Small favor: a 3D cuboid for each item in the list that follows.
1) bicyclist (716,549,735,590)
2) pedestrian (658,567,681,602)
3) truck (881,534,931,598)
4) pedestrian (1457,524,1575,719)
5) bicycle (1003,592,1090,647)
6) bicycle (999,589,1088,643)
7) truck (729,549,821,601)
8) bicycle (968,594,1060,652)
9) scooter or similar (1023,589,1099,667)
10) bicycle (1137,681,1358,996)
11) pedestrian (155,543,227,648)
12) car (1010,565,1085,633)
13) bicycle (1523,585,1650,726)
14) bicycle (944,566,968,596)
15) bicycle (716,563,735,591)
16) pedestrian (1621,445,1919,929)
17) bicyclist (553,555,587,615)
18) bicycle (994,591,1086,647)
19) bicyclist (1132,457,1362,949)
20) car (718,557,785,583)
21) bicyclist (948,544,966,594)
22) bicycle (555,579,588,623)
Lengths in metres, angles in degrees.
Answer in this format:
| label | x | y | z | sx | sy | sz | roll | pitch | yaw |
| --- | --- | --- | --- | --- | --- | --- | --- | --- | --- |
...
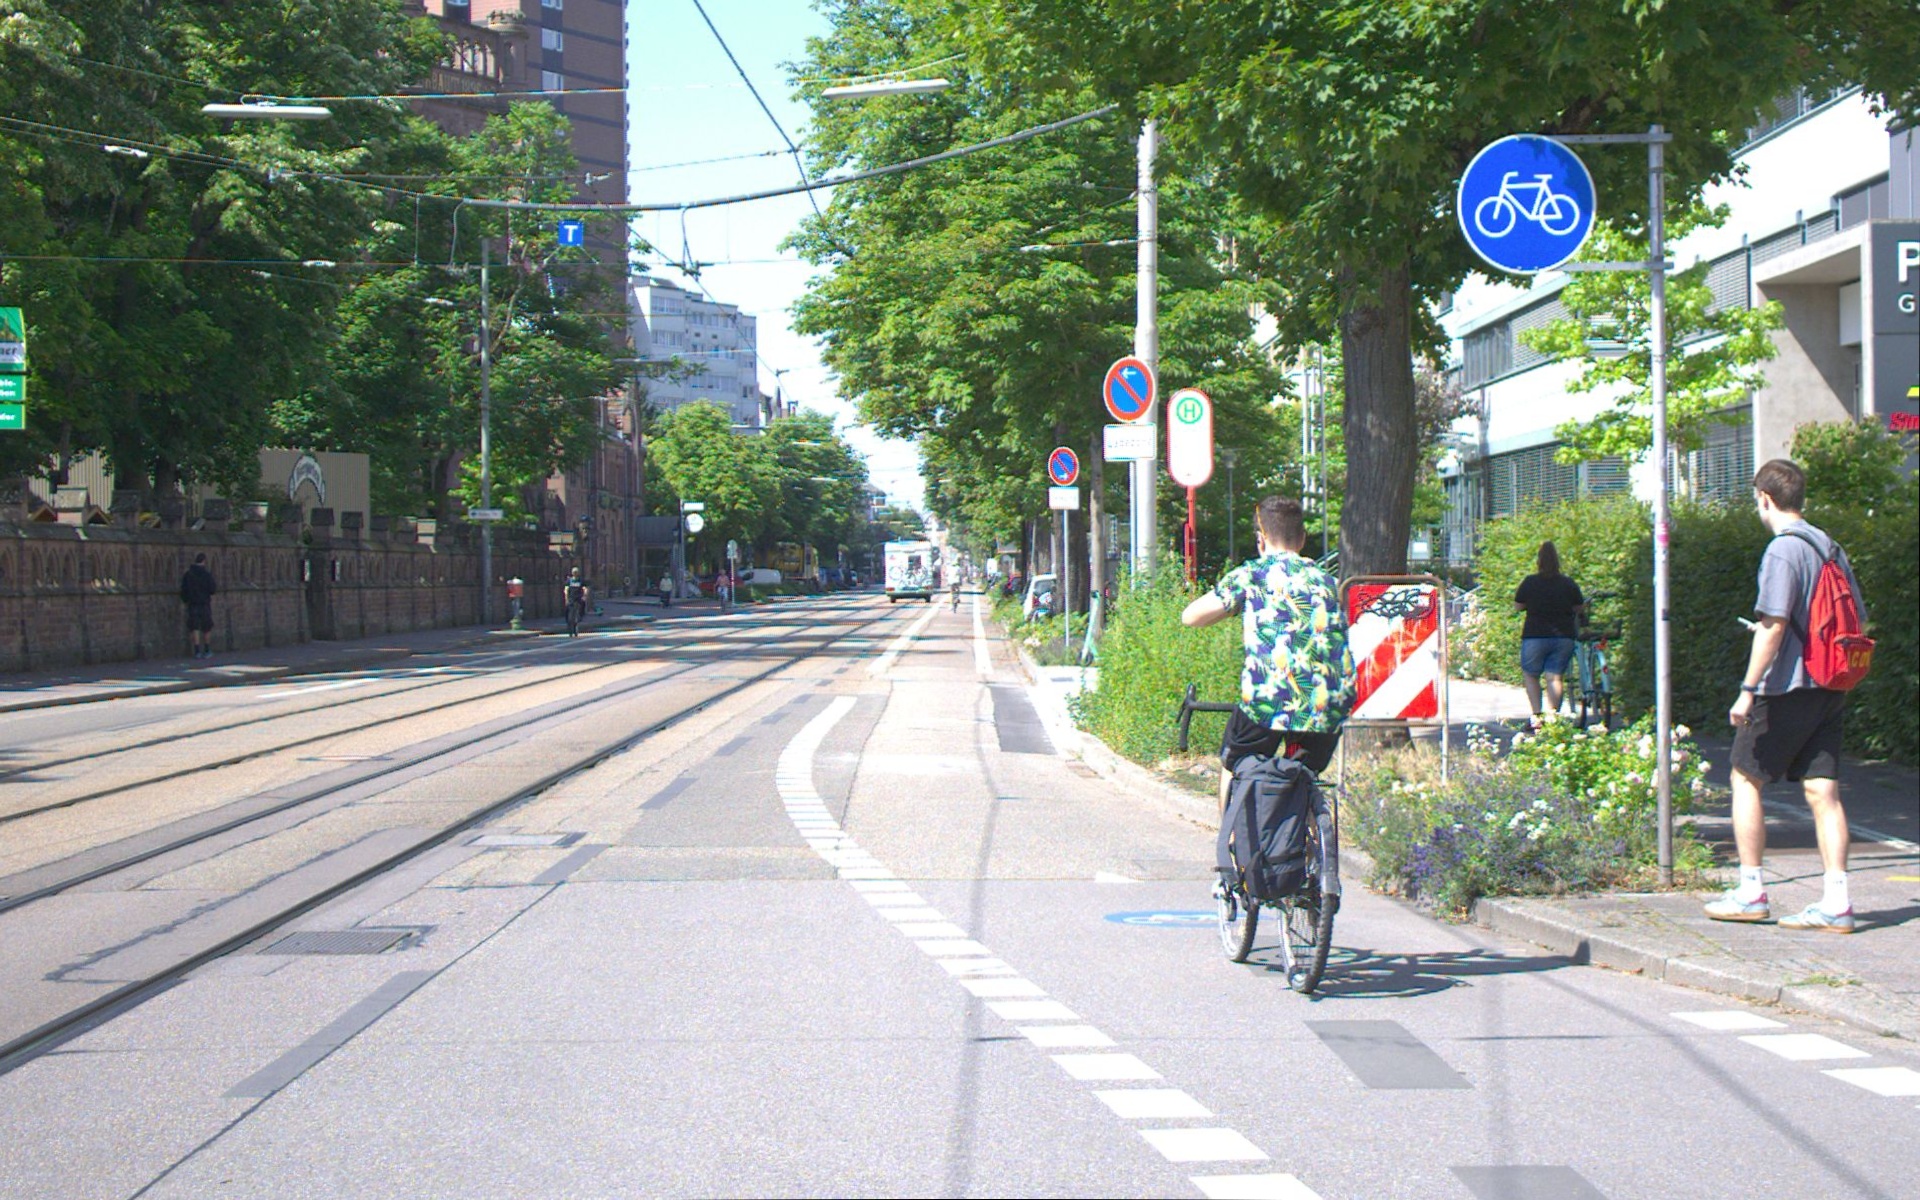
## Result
| label | x | y | z | sx | sy | sz | roll | pitch | yaw |
| --- | --- | --- | --- | --- | --- | --- | --- | --- | --- |
| bicyclist | -9.830 | -1.288 | 144.153 | 0.725 | 1.693 | 1.147 | -1 | 0 | -1 |
| pedestrian | -12.693 | -0.667 | 149.969 | 0.883 | 1.507 | 1.476 | -1 | 0 | -9 |
| truck | -2.651 | -1.657 | 170.410 | 2.402 | 3.098 | 6.037 | 0 | 0 | 0 |
| pedestrian | 4.593 | 0.170 | 28.451 | 0.686 | 1.558 | 0.989 | -2 | 0 | -5 |
| bicycle | 1.752 | 0.399 | 69.780 | 1.724 | 1.082 | 0.639 | -1 | 0 | 0 |
| bicycle | 1.711 | 0.321 | 70.666 | 1.792 | 1.082 | 0.726 | -1 | 0 | 0 |
| truck | -13.744 | -1.862 | 256.401 | 2.816 | 3.846 | 9.989 | -1 | 0 | 22 |
| bicycle | 1.031 | 0.444 | 66.162 | 1.724 | 1.082 | 0.789 | -1 | 0 | 0 |
| scooter or similar | 1.547 | 0.431 | 52.501 | 1.126 | 1.162 | 0.676 | -1 | 0 | 3 |
| bicycle | 1.021 | 0.826 | 12.608 | 0.608 | 0.980 | 2.164 | 0 | 1 | -1 |
| pedestrian | -13.524 | -0.083 | 60.493 | 0.976 | 1.809 | 1.185 | -1 | 0 | 0 |
| car | 1.930 | -0.036 | 76.463 | 1.630 | 1.467 | 3.630 | 0 | 1 | 1 |
| bicycle | 5.148 | 0.435 | 28.351 | 0.636 | 1.114 | 2.067 | 0 | 0 | -1 |
| bicycle | -0.154 | -0.704 | 129.234 | 0.855 | 1.106 | 2.139 | 0 | 1 | -1 |
| bicycle | -9.824 | -0.956 | 144.191 | 0.662 | 1.150 | 2.014 | 0 | 1 | 0 |
| pedestrian | 3.186 | 0.319 | 13.452 | 0.889 | 1.811 | 1.073 | 0 | 0 | -7 |
| bicyclist | -9.924 | -0.385 | 87.442 | 0.740 | 1.525 | 0.947 | 0 | 1 | 0 |
| bicycle | 1.652 | 0.389 | 71.195 | 1.849 | 1.128 | 0.680 | -1 | 0 | 0 |
| bicyclist | 1.033 | 0.356 | 12.554 | 0.716 | 1.718 | 0.988 | 0 | 0 | -2 |
| car | -13.839 | -1.994 | 228.339 | 3.987 | 1.744 | 2.000 | -1 | 0 | -30 |
| bicyclist | -0.131 | -1.182 | 129.251 | 0.636 | 1.865 | 1.024 | -1 | 0 | -1 |
| bicycle | -9.875 | 0.020 | 87.361 | 0.591 | 1.102 | 2.054 | 0 | 1 | 0 |
